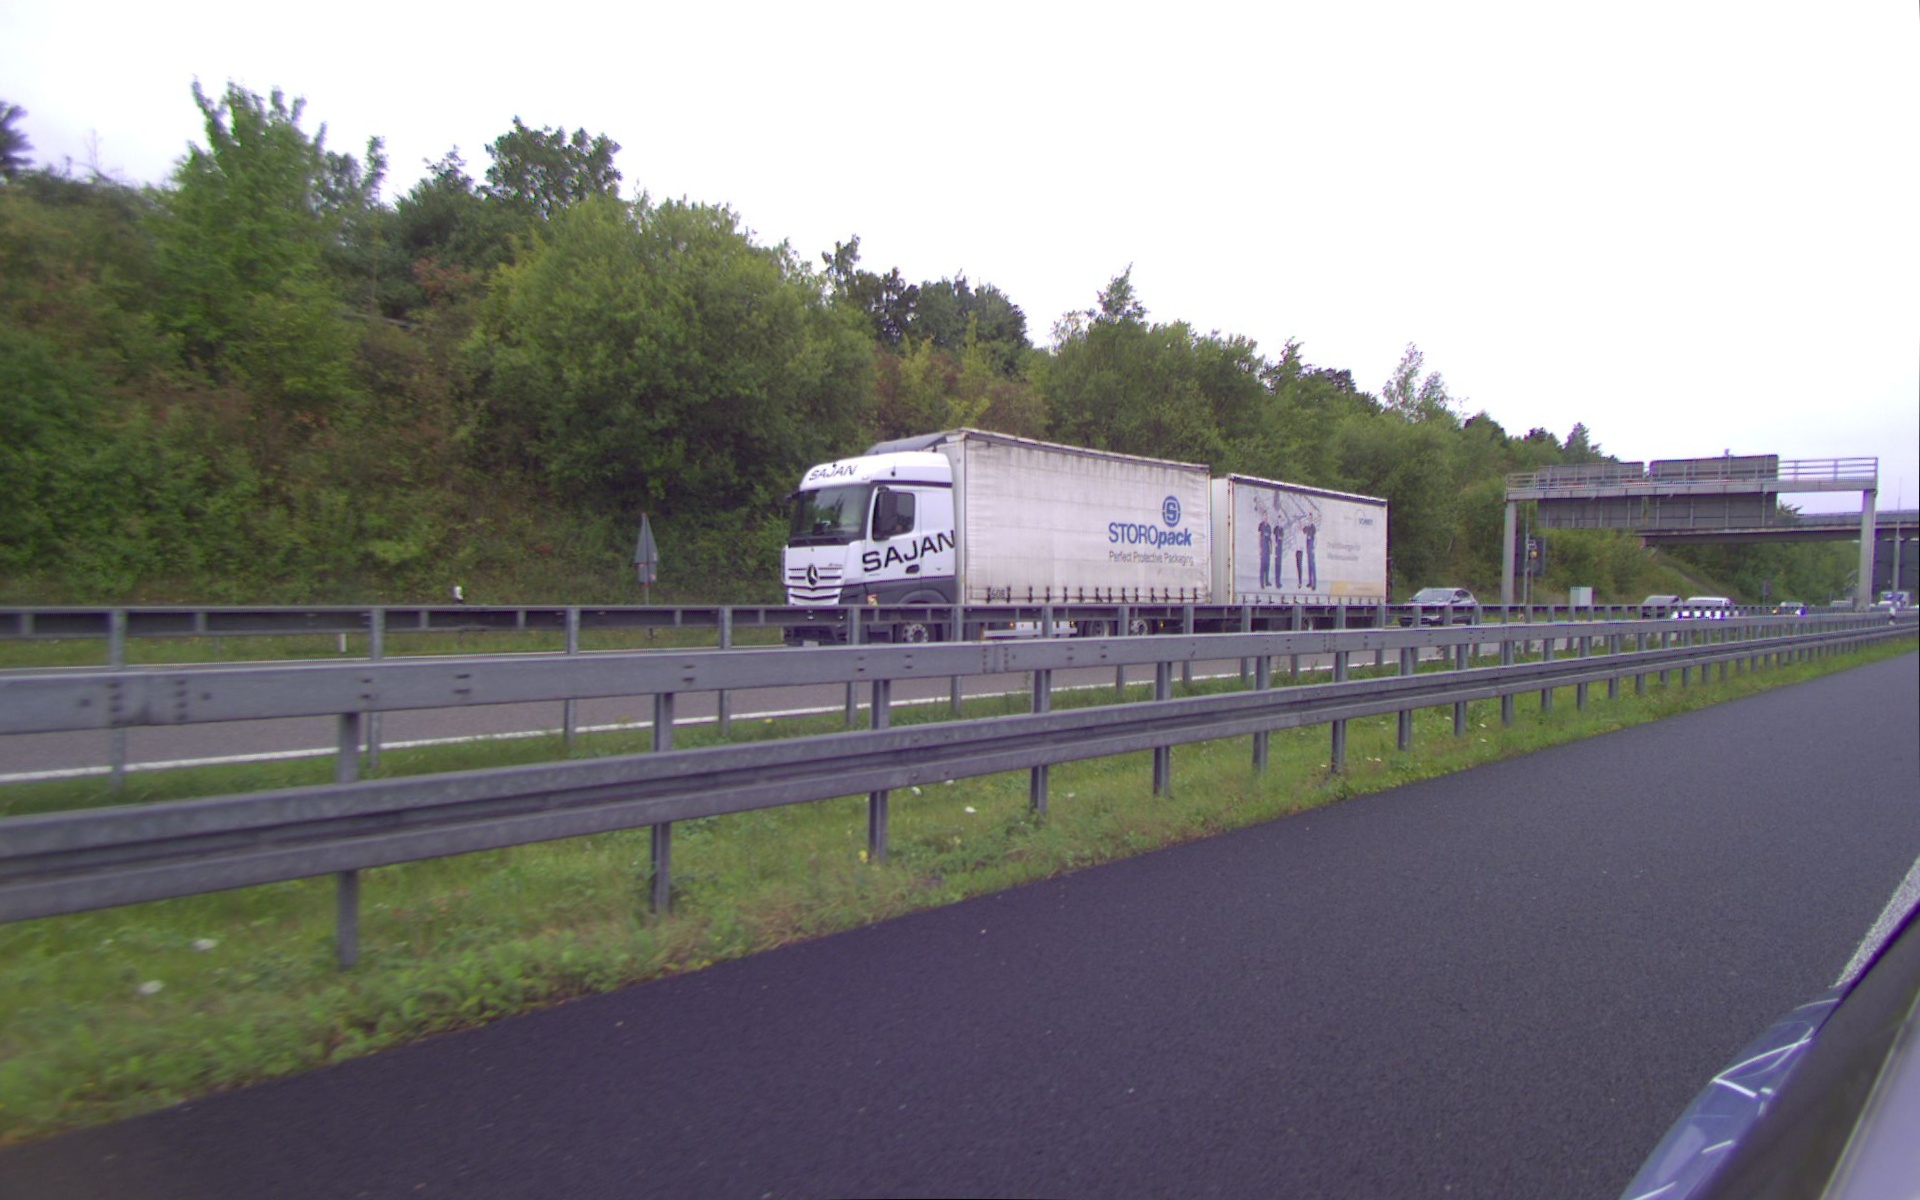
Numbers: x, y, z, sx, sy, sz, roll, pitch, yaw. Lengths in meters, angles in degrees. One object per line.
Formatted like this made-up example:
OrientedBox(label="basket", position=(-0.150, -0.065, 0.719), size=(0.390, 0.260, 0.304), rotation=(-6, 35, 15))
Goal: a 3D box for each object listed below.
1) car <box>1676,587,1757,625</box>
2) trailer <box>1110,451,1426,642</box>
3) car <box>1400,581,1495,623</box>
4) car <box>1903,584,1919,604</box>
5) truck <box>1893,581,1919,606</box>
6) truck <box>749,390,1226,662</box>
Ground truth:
OrientedBox(label="car", position=(30.984, 0.220, 41.435), size=(4.085, 1.465, 1.863), rotation=(-1, 1, -41))
OrientedBox(label="trailer", position=(8.766, -1.271, 27.736), size=(10.273, 4.343, 3.443), rotation=(0, 1, -42))
OrientedBox(label="car", position=(19.910, 0.048, 41.263), size=(4.420, 1.634, 1.864), rotation=(0, 1, -40))
OrientedBox(label="car", position=(91.549, -0.570, 96.593), size=(4.567, 1.827, 1.863), rotation=(0, 1, -41))
OrientedBox(label="truck", position=(135.811, -0.994, 144.745), size=(9.129, 3.460, 2.904), rotation=(-1, 1, -44))
OrientedBox(label="truck", position=(1.064, -1.228, 20.837), size=(10.238, 4.343, 3.443), rotation=(0, 1, -42))
